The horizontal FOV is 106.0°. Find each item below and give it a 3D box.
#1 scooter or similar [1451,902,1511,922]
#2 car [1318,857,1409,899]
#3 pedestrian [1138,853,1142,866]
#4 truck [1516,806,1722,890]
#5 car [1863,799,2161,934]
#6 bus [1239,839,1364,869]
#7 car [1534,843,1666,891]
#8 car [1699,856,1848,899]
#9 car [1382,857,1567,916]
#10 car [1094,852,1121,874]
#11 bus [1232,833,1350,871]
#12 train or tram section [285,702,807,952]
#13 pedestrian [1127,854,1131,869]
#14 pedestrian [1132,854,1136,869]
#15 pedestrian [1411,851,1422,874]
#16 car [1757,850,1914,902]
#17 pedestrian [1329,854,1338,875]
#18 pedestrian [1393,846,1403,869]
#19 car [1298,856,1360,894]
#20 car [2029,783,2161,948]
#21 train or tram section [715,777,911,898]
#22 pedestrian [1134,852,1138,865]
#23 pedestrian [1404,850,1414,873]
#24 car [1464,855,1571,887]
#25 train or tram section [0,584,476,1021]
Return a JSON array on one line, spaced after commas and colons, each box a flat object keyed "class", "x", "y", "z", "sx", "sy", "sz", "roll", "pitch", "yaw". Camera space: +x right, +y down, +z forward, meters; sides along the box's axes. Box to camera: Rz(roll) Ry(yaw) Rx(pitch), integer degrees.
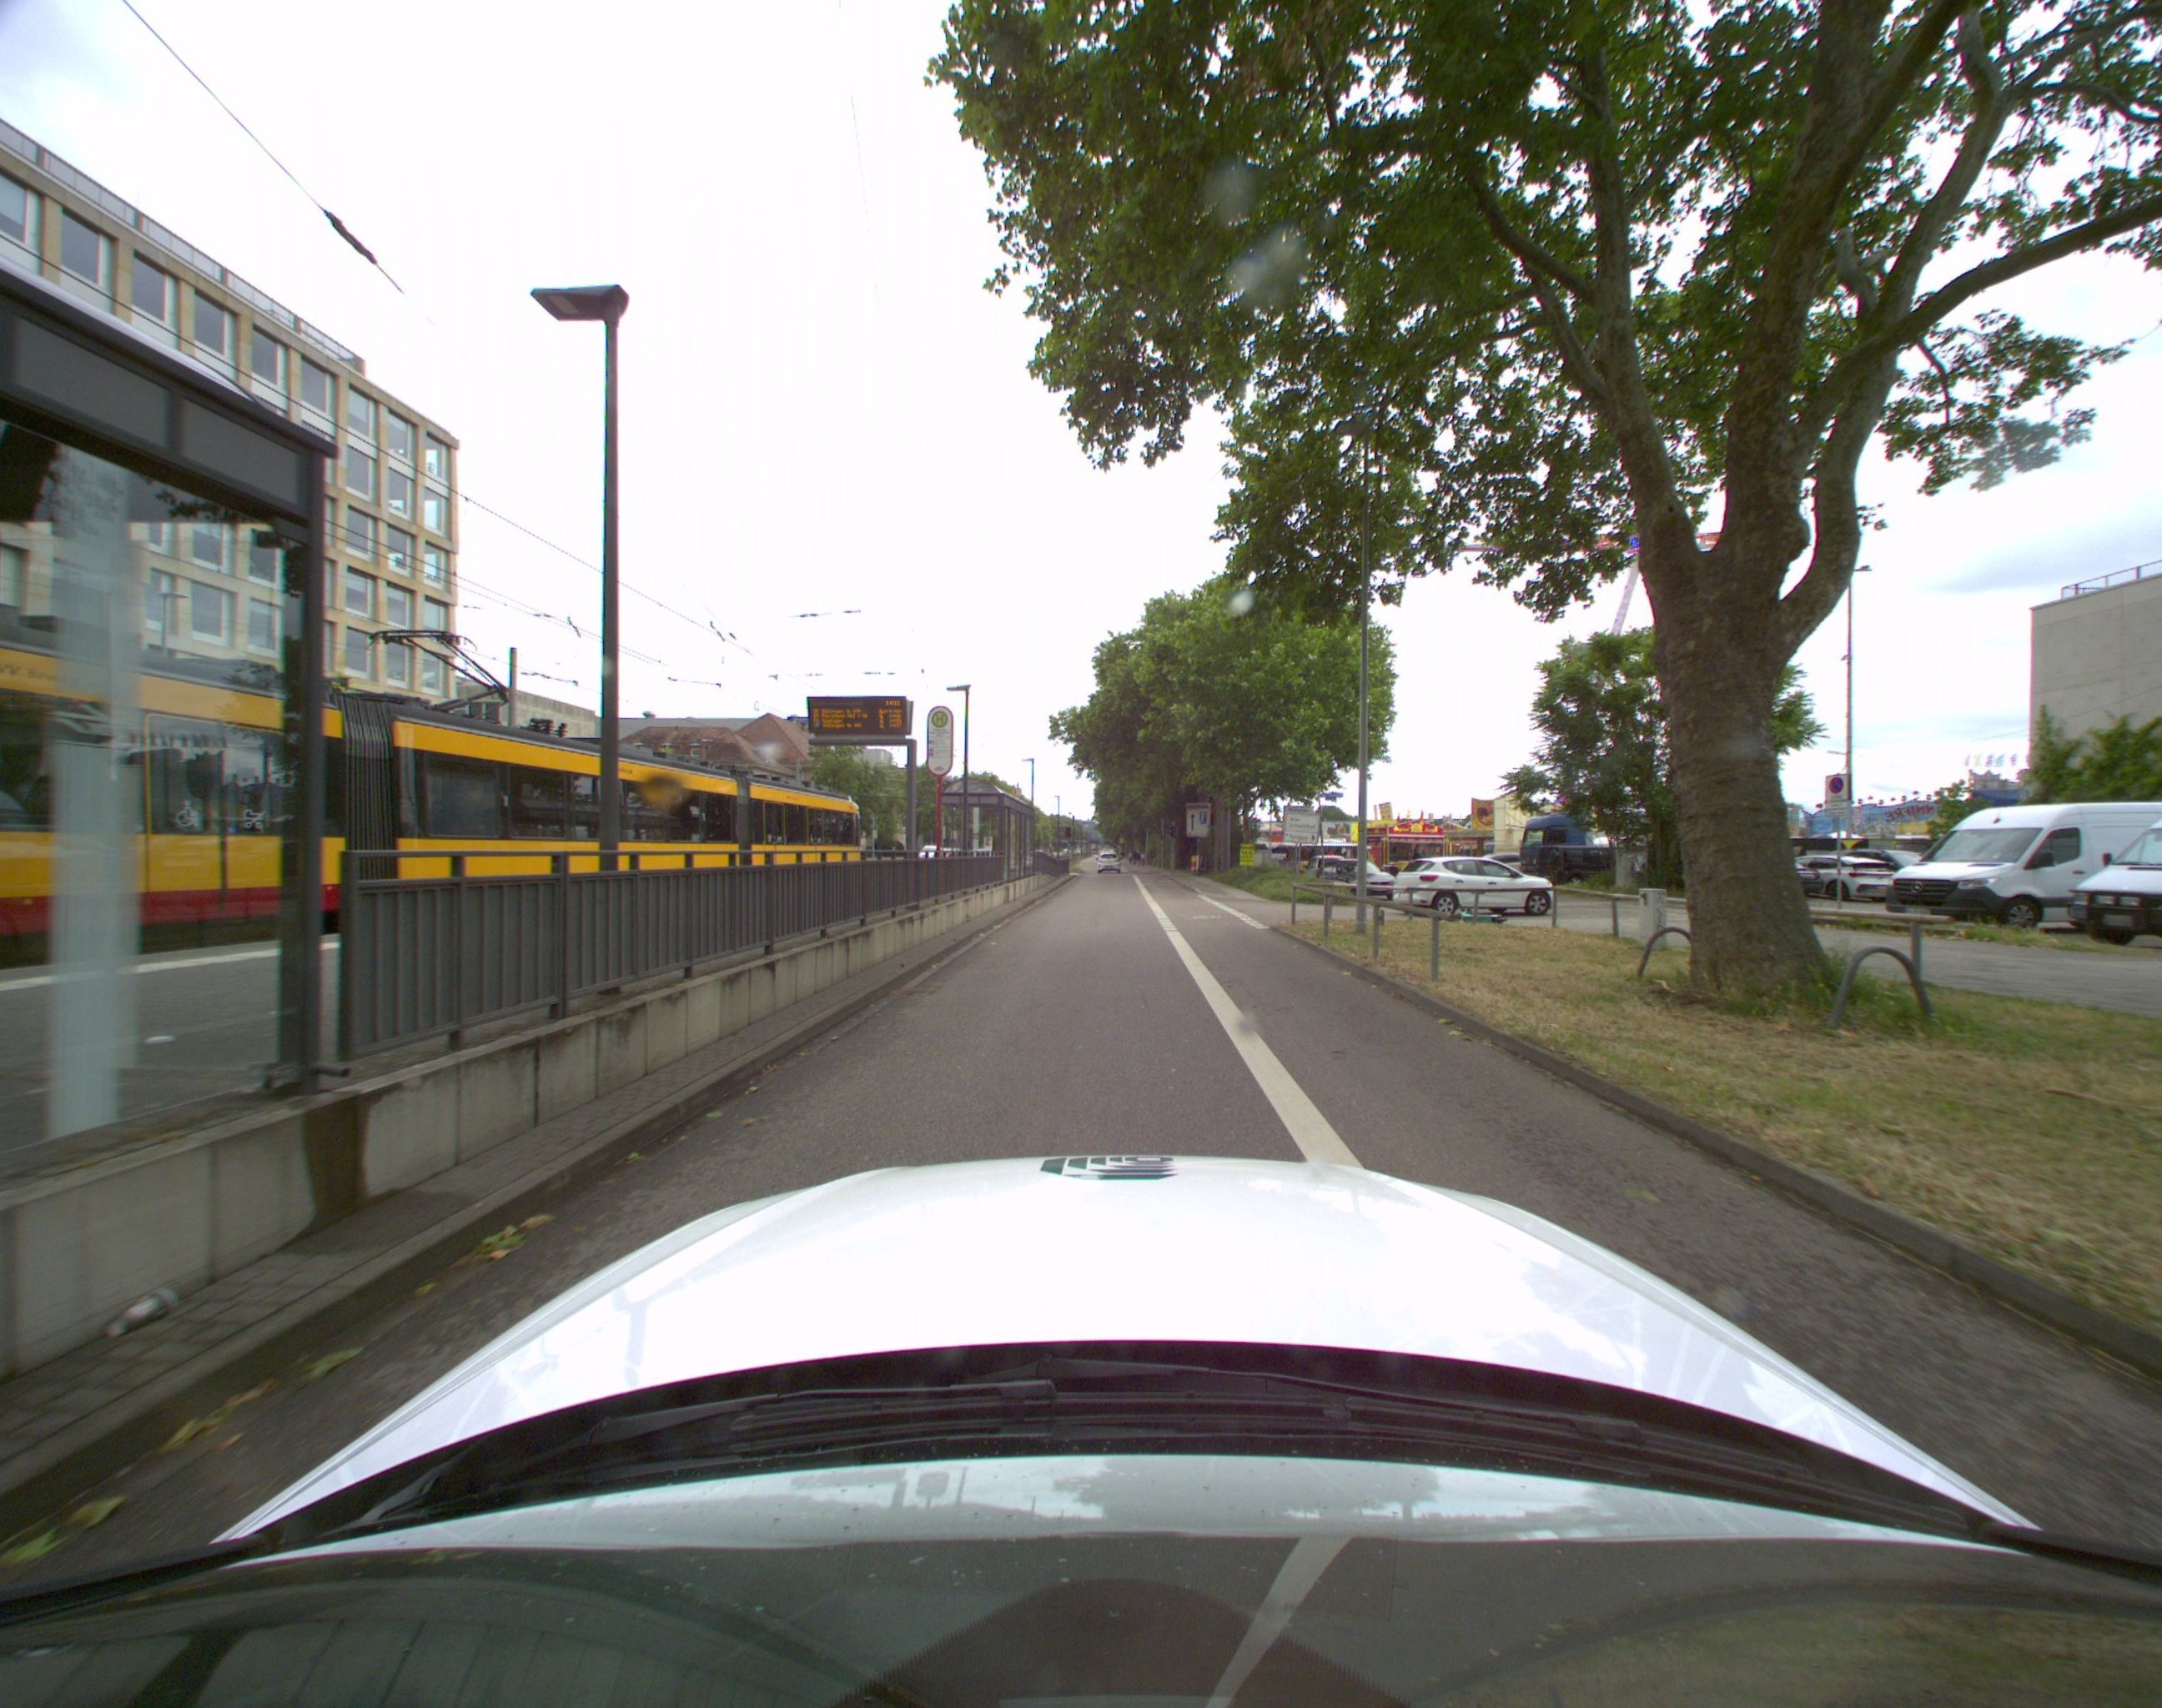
[{"class": "scooter or similar", "x": 8.970, "y": 1.290, "z": 18.287, "sx": 1.166, "sy": 0.349, "sz": 1.339, "roll": -1, "pitch": 0, "yaw": 26}, {"class": "car", "x": 10.282, "y": 0.850, "z": 29.938, "sx": 1.858, "sy": 1.430, "sz": 3.996, "roll": 0, "pitch": 0, "yaw": -2}, {"class": "pedestrian", "x": 6.965, "y": 0.678, "z": 96.348, "sx": 0.394, "sy": 1.585, "sz": 0.538, "roll": 0, "pitch": -1, "yaw": 2}, {"class": "truck", "x": 25.532, "y": -0.267, "z": 38.918, "sx": 8.163, "sy": 3.822, "sz": 2.600, "roll": 0, "pitch": -1, "yaw": 0}, {"class": "car", "x": 19.907, "y": 0.246, "z": 16.582, "sx": 6.003, "sy": 2.555, "sz": 2.100, "roll": 0, "pitch": -1, "yaw": 0}, {"class": "bus", "x": 17.090, "y": 0.027, "z": 63.295, "sx": 9.249, "sy": 2.227, "sz": 1.999, "roll": 0, "pitch": -1, "yaw": -1}, {"class": "car", "x": 22.793, "y": 0.540, "z": 35.906, "sx": 4.558, "sy": 2.013, "sz": 2.000, "roll": -1, "pitch": 1, "yaw": 0}, {"class": "car", "x": 24.424, "y": 0.779, "z": 28.916, "sx": 1.879, "sy": 1.349, "sz": 3.999, "roll": 3, "pitch": 0, "yaw": 0}, {"class": "car", "x": 10.109, "y": 0.808, "z": 21.073, "sx": 3.986, "sy": 1.453, "sz": 1.885, "roll": 0, "pitch": -1, "yaw": -10}, {"class": "car", "x": 1.967, "y": 0.609, "z": 59.483, "sx": 1.833, "sy": 1.552, "sz": 4.004, "roll": 0, "pitch": 0, "yaw": 3}, {"class": "bus", "x": 17.115, "y": -0.148, "z": 66.623, "sx": 9.249, "sy": 2.960, "sz": 1.999, "roll": 0, "pitch": -1, "yaw": -1}, {"class": "train or tram section", "x": -11.404, "y": -0.408, "z": 20.962, "sx": 3.168, "sy": 4.179, "sz": 14.741, "roll": 0, "pitch": 0, "yaw": 2}, {"class": "pedestrian", "x": 6.421, "y": 1.002, "z": 108.388, "sx": 0.393, "sy": 2.014, "sz": 0.404, "roll": 0, "pitch": -1, "yaw": 17}, {"class": "pedestrian", "x": 7.004, "y": 0.977, "z": 108.062, "sx": 0.393, "sy": 2.014, "sz": 0.404, "roll": 0, "pitch": -1, "yaw": 17}, {"class": "pedestrian", "x": 24.394, "y": 0.627, "z": 59.225, "sx": 0.523, "sy": 1.687, "sz": 0.492, "roll": 0, "pitch": -1, "yaw": -15}, {"class": "car", "x": 26.708, "y": 0.721, "z": 29.025, "sx": 1.879, "sy": 1.644, "sz": 4.000, "roll": 1, "pitch": 1, "yaw": 0}, {"class": "pedestrian", "x": 17.660, "y": 0.734, "z": 56.944, "sx": 0.491, "sy": 1.463, "sz": 0.523, "roll": 0, "pitch": -1, "yaw": -1}, {"class": "pedestrian", "x": 24.191, "y": 0.274, "z": 62.151, "sx": 0.491, "sy": 1.687, "sz": 0.523, "roll": 0, "pitch": -1, "yaw": -1}, {"class": "car", "x": 11.009, "y": 0.909, "z": 36.432, "sx": 1.854, "sy": 1.594, "sz": 4.004, "roll": 0, "pitch": 0, "yaw": 4}, {"class": "car", "x": 19.589, "y": 0.299, "z": 13.290, "sx": 5.764, "sy": 2.535, "sz": 2.040, "roll": 2, "pitch": 0, "yaw": 1}, {"class": "train or tram section", "x": -10.851, "y": -0.535, "z": 35.676, "sx": 3.168, "sy": 4.179, "sz": 14.741, "roll": 0, "pitch": 0, "yaw": 2}, {"class": "pedestrian", "x": 6.522, "y": 0.547, "z": 96.334, "sx": 0.394, "sy": 1.444, "sz": 0.563, "roll": 0, "pitch": -1, "yaw": 2}, {"class": "pedestrian", "x": 23.650, "y": 0.547, "z": 58.685, "sx": 0.523, "sy": 1.687, "sz": 0.492, "roll": 0, "pitch": -1, "yaw": -15}, {"class": "car", "x": 22.859, "y": 0.881, "z": 42.745, "sx": 4.558, "sy": 1.575, "sz": 2.000, "roll": 0, "pitch": -1, "yaw": 0}, {"class": "train or tram section", "x": -12.003, "y": -0.510, "z": 6.259, "sx": 3.168, "sy": 4.179, "sz": 14.741, "roll": 0, "pitch": 0, "yaw": 2}]
